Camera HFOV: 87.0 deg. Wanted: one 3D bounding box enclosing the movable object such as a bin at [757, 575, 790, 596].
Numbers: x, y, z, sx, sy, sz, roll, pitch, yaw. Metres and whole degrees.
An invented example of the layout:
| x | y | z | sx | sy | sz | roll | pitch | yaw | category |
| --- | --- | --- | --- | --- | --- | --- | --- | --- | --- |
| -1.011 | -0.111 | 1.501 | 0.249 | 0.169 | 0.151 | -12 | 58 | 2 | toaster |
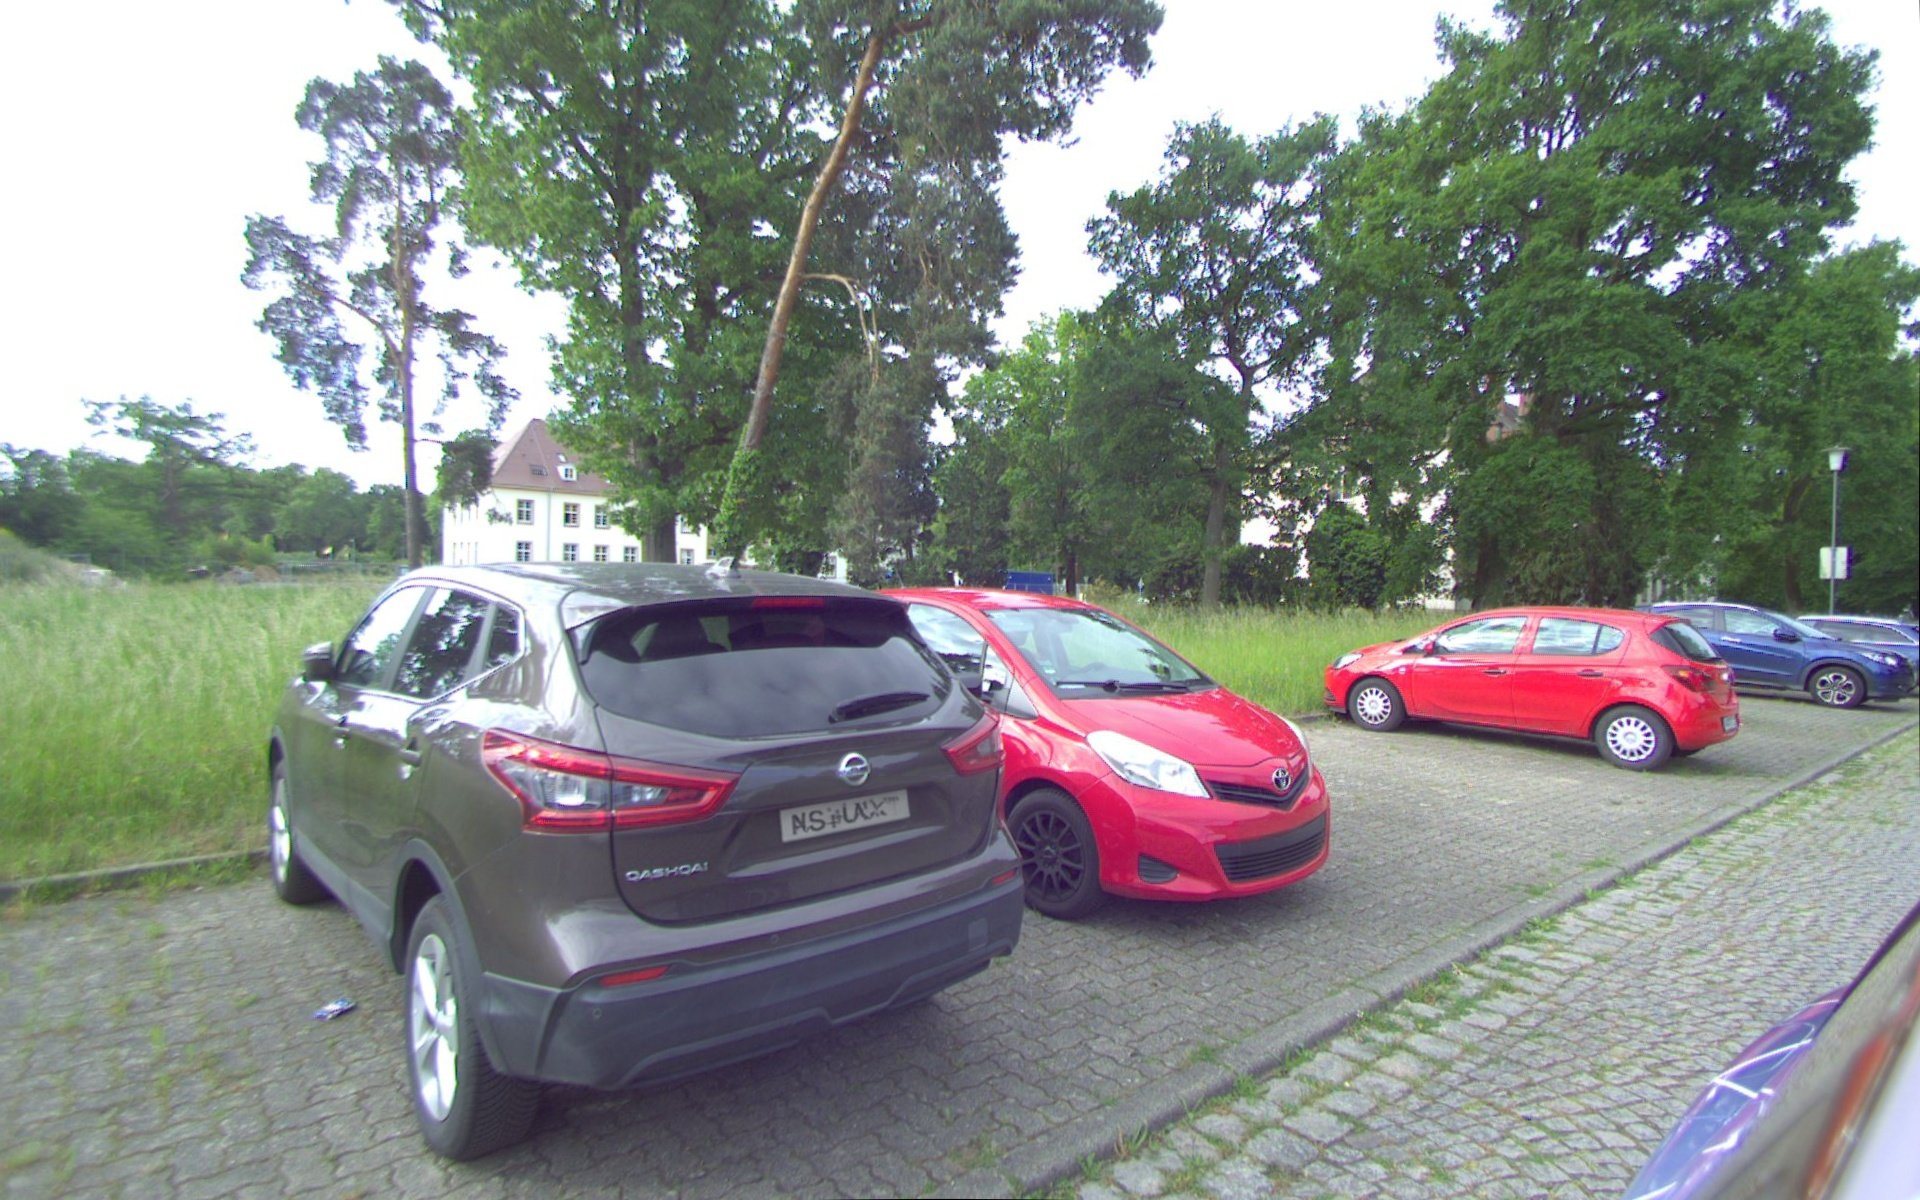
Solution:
| x | y | z | sx | sy | sz | roll | pitch | yaw | category |
| --- | --- | --- | --- | --- | --- | --- | --- | --- | --- |
| -18.808 | -1.422 | 102.095 | 2.932 | 2.039 | 1.553 | 1 | 1 | -40 | movable object such as a bin |

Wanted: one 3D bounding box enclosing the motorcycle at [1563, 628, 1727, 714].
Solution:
| x | y | z | sx | sy | sz | roll | pitch | yaw | category |
| --- | --- | --- | --- | --- | --- | --- | --- | --- | --- |
| 9.272 | 0.925 | 13.745 | 1.741 | 0.969 | 0.604 | 4 | 2 | 44 | motorcycle |

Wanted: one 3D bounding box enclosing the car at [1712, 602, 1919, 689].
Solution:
| x | y | z | sx | sy | sz | roll | pitch | yaw | category |
| --- | --- | --- | --- | --- | --- | --- | --- | --- | --- |
| 17.445 | 0.854 | 20.004 | 1.555 | 1.443 | 3.875 | 1 | 2 | -41 | car |

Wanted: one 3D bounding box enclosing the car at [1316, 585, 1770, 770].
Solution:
| x | y | z | sx | sy | sz | roll | pitch | yaw | category |
| --- | --- | --- | --- | --- | --- | --- | --- | --- | --- |
| 6.030 | 0.667 | 10.843 | 1.555 | 1.478 | 3.892 | 1 | 2 | -41 | car |

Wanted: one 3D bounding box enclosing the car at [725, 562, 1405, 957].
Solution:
| x | y | z | sx | sy | sz | roll | pitch | yaw | category |
| --- | --- | --- | --- | --- | --- | --- | --- | --- | --- |
| 0.298 | 0.588 | 6.140 | 1.734 | 1.504 | 4.016 | 1 | 2 | -39 | car |

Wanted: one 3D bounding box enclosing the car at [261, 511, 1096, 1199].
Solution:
| x | y | z | sx | sy | sz | roll | pitch | yaw | category |
| --- | --- | --- | --- | --- | --- | --- | --- | --- | --- |
| -1.639 | 0.525 | 4.366 | 1.790 | 1.618 | 4.269 | 1 | 2 | -41 | car |

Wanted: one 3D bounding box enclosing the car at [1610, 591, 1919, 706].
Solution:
| x | y | z | sx | sy | sz | roll | pitch | yaw | category |
| --- | --- | --- | --- | --- | --- | --- | --- | --- | --- |
| 13.755 | 0.728 | 17.288 | 1.555 | 1.557 | 4.148 | 1 | 2 | -41 | car |
